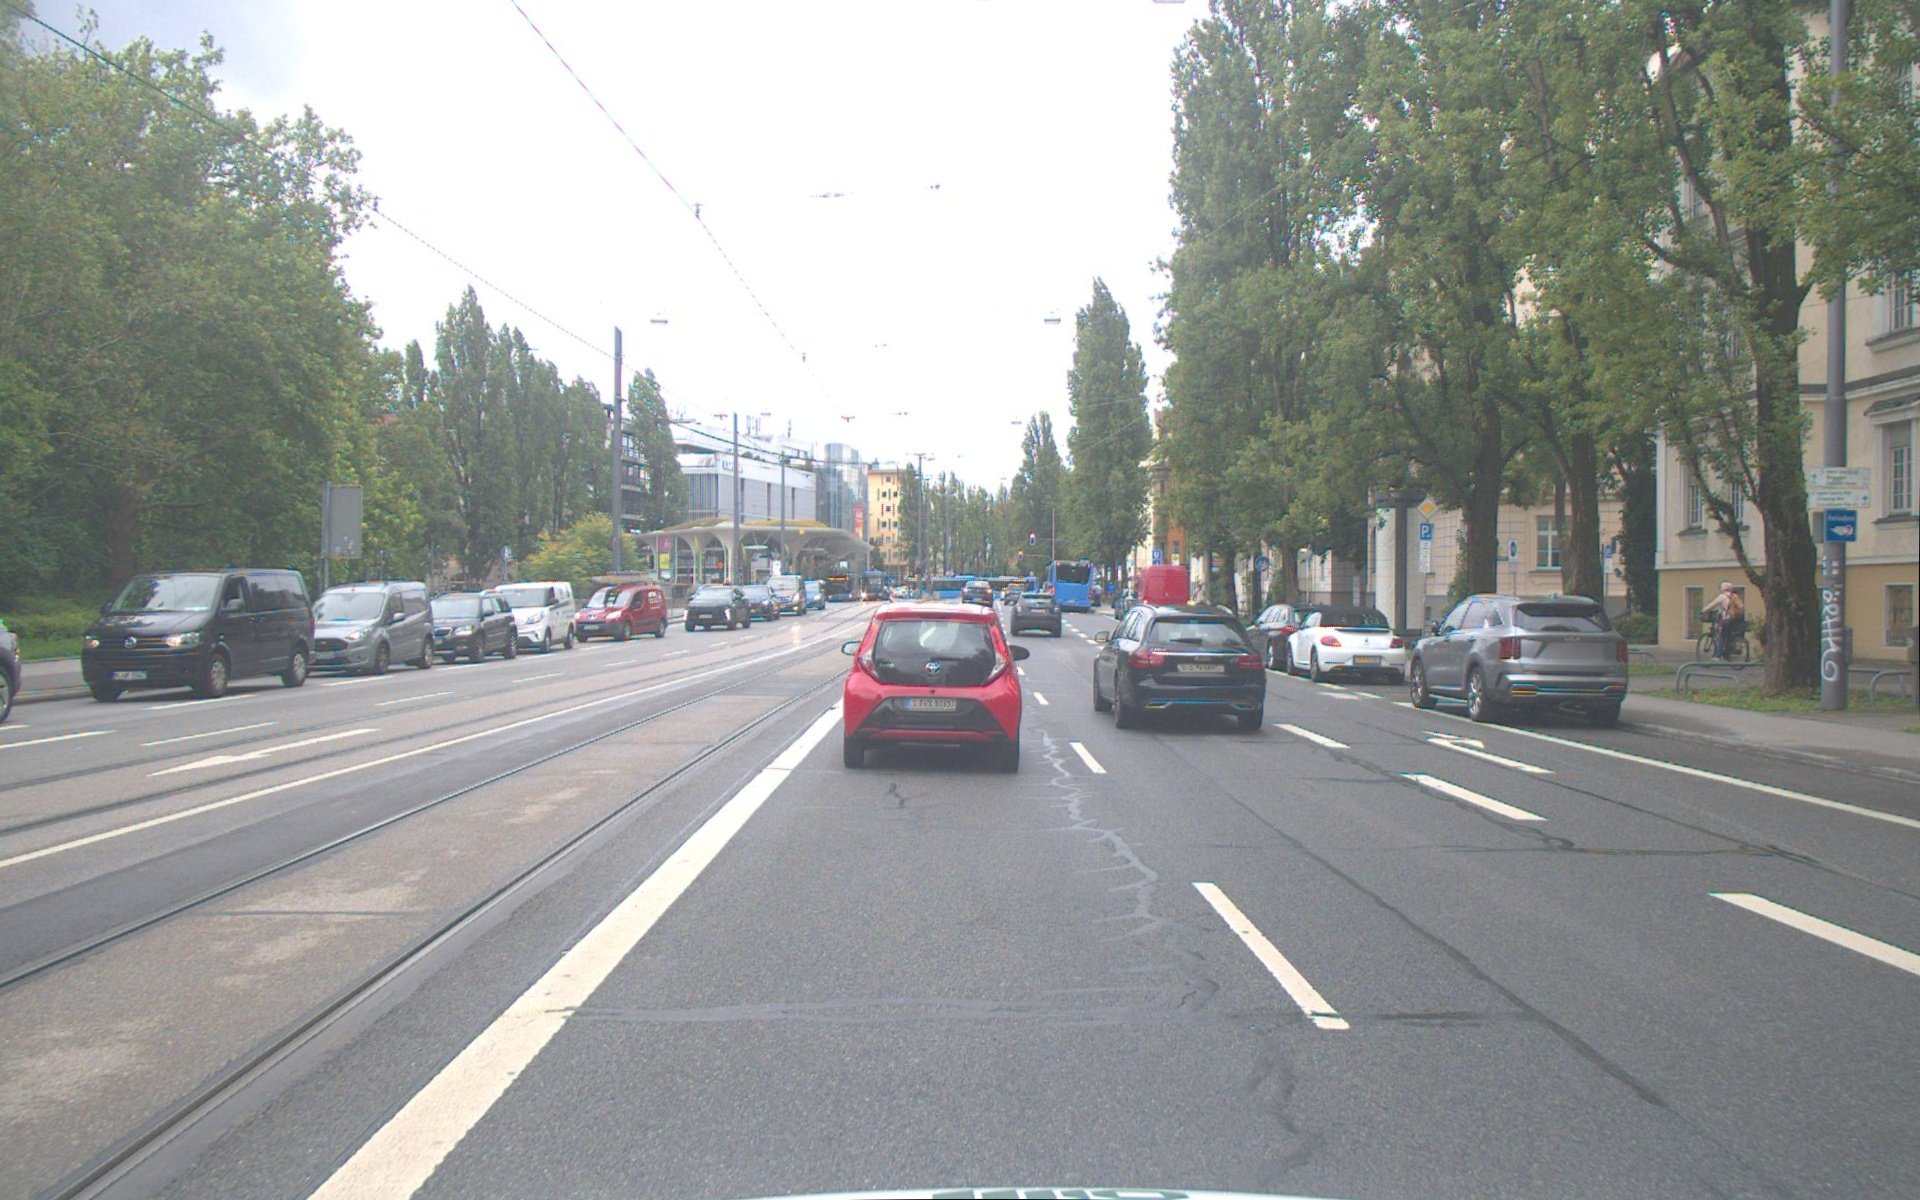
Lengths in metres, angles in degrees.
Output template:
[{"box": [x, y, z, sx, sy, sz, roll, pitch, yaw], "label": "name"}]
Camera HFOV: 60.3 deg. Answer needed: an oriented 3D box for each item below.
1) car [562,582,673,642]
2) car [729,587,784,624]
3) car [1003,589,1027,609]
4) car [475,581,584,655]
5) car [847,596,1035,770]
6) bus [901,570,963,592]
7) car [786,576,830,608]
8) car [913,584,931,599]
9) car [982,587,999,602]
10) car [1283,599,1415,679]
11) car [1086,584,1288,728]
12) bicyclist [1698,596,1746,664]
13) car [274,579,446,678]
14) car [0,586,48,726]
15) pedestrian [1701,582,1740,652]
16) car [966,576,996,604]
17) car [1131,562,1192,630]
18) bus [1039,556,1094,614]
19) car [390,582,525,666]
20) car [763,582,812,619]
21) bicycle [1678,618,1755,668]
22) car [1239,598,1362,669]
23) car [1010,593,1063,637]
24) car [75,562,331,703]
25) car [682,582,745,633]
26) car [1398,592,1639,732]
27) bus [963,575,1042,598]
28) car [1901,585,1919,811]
[{"box": [-11.162, 0.352, 54.224, 1.761, 1.819, 4.523, -2, 0, 13], "label": "car"}, {"box": [-9.015, 0.236, 73.621, 1.762, 1.557, 4.519, -2, 0, 1], "label": "car"}, {"box": [4.196, -0.083, 126.450, 1.744, 1.512, 4.000, 0, 0, 0], "label": "car"}, {"box": [-11.827, 0.464, 45.730, 1.762, 1.894, 4.630, -2, 0, 0], "label": "car"}, {"box": [-0.225, 0.710, 15.922, 1.596, 1.465, 3.375, 1, 0, -2], "label": "car"}, {"box": [-3.730, -2.518, 219.668, 8.296, 2.895, 2.000, 0, 2, -2], "label": "bus"}, {"box": [-8.499, -0.423, 92.675, 1.762, 1.694, 4.520, -2, 0, 3], "label": "car"}, {"box": [-3.728, -0.844, 162.934, 1.744, 1.512, 4.000, 0, 0, 0], "label": "car"}, {"box": [3.651, -0.666, 197.455, 1.766, 1.624, 4.001, 1, -3, 4], "label": "car"}, {"box": [7.822, 0.744, 33.583, 1.762, 1.534, 4.000, 0, 0, 0], "label": "car"}, {"box": [2.748, 0.608, 21.057, 1.826, 1.576, 4.703, 0, 1, -1], "label": "car"}, {"box": [15.371, 0.598, 33.373, 0.646, 1.337, 0.705, 0, 0, -2], "label": "bicyclist"}, {"box": [-12.058, 0.530, 33.575, 1.762, 1.820, 4.519, -2, 0, 0], "label": "car"}, {"box": [-12.295, 0.674, 18.367, 1.762, 1.663, 4.588, -1, 0, 0], "label": "car"}, {"box": [17.568, 0.389, 38.209, 0.541, 1.574, 0.738, 0, 2, -1], "label": "pedestrian"}, {"box": [1.235, -0.582, 96.923, 1.700, 1.576, 4.576, 0, 0, 0], "label": "car"}, {"box": [8.289, -0.214, 68.401, 1.952, 2.619, 4.680, 0, 2, 0], "label": "car"}, {"box": [6.703, -1.050, 105.658, 2.846, 3.455, 10.808, 0, 2, 0], "label": "bus"}, {"box": [-11.854, 0.542, 39.348, 1.762, 1.820, 4.519, -2, 0, 0], "label": "car"}, {"box": [-8.435, 0.000, 81.172, 1.762, 1.694, 4.519, -2, 0, 1], "label": "car"}, {"box": [15.364, 0.859, 33.642, 0.639, 0.939, 1.902, 0, 0, -2], "label": "bicycle"}, {"box": [7.838, 0.735, 38.494, 1.763, 1.534, 4.448, 0, 0, -3], "label": "car"}, {"box": [2.707, 0.523, 59.480, 1.744, 1.512, 4.000, 0, 0, 0], "label": "car"}, {"box": [-11.972, 0.469, 26.599, 1.762, 2.025, 5.039, -1, 0, 0], "label": "car"}, {"box": [-9.355, 0.282, 63.005, 1.763, 1.820, 4.517, -2, 0, -1], "label": "car"}, {"box": [7.746, 0.780, 23.452, 1.763, 1.773, 4.699, 0, 0, -1], "label": "car"}, {"box": [5.648, -1.829, 220.072, 10.346, 2.895, 1.999, 0, 2, -4], "label": "bus"}, {"box": [7.871, 0.712, 9.958, 1.763, 1.640, 4.546, 0, 0, -1], "label": "car"}]
